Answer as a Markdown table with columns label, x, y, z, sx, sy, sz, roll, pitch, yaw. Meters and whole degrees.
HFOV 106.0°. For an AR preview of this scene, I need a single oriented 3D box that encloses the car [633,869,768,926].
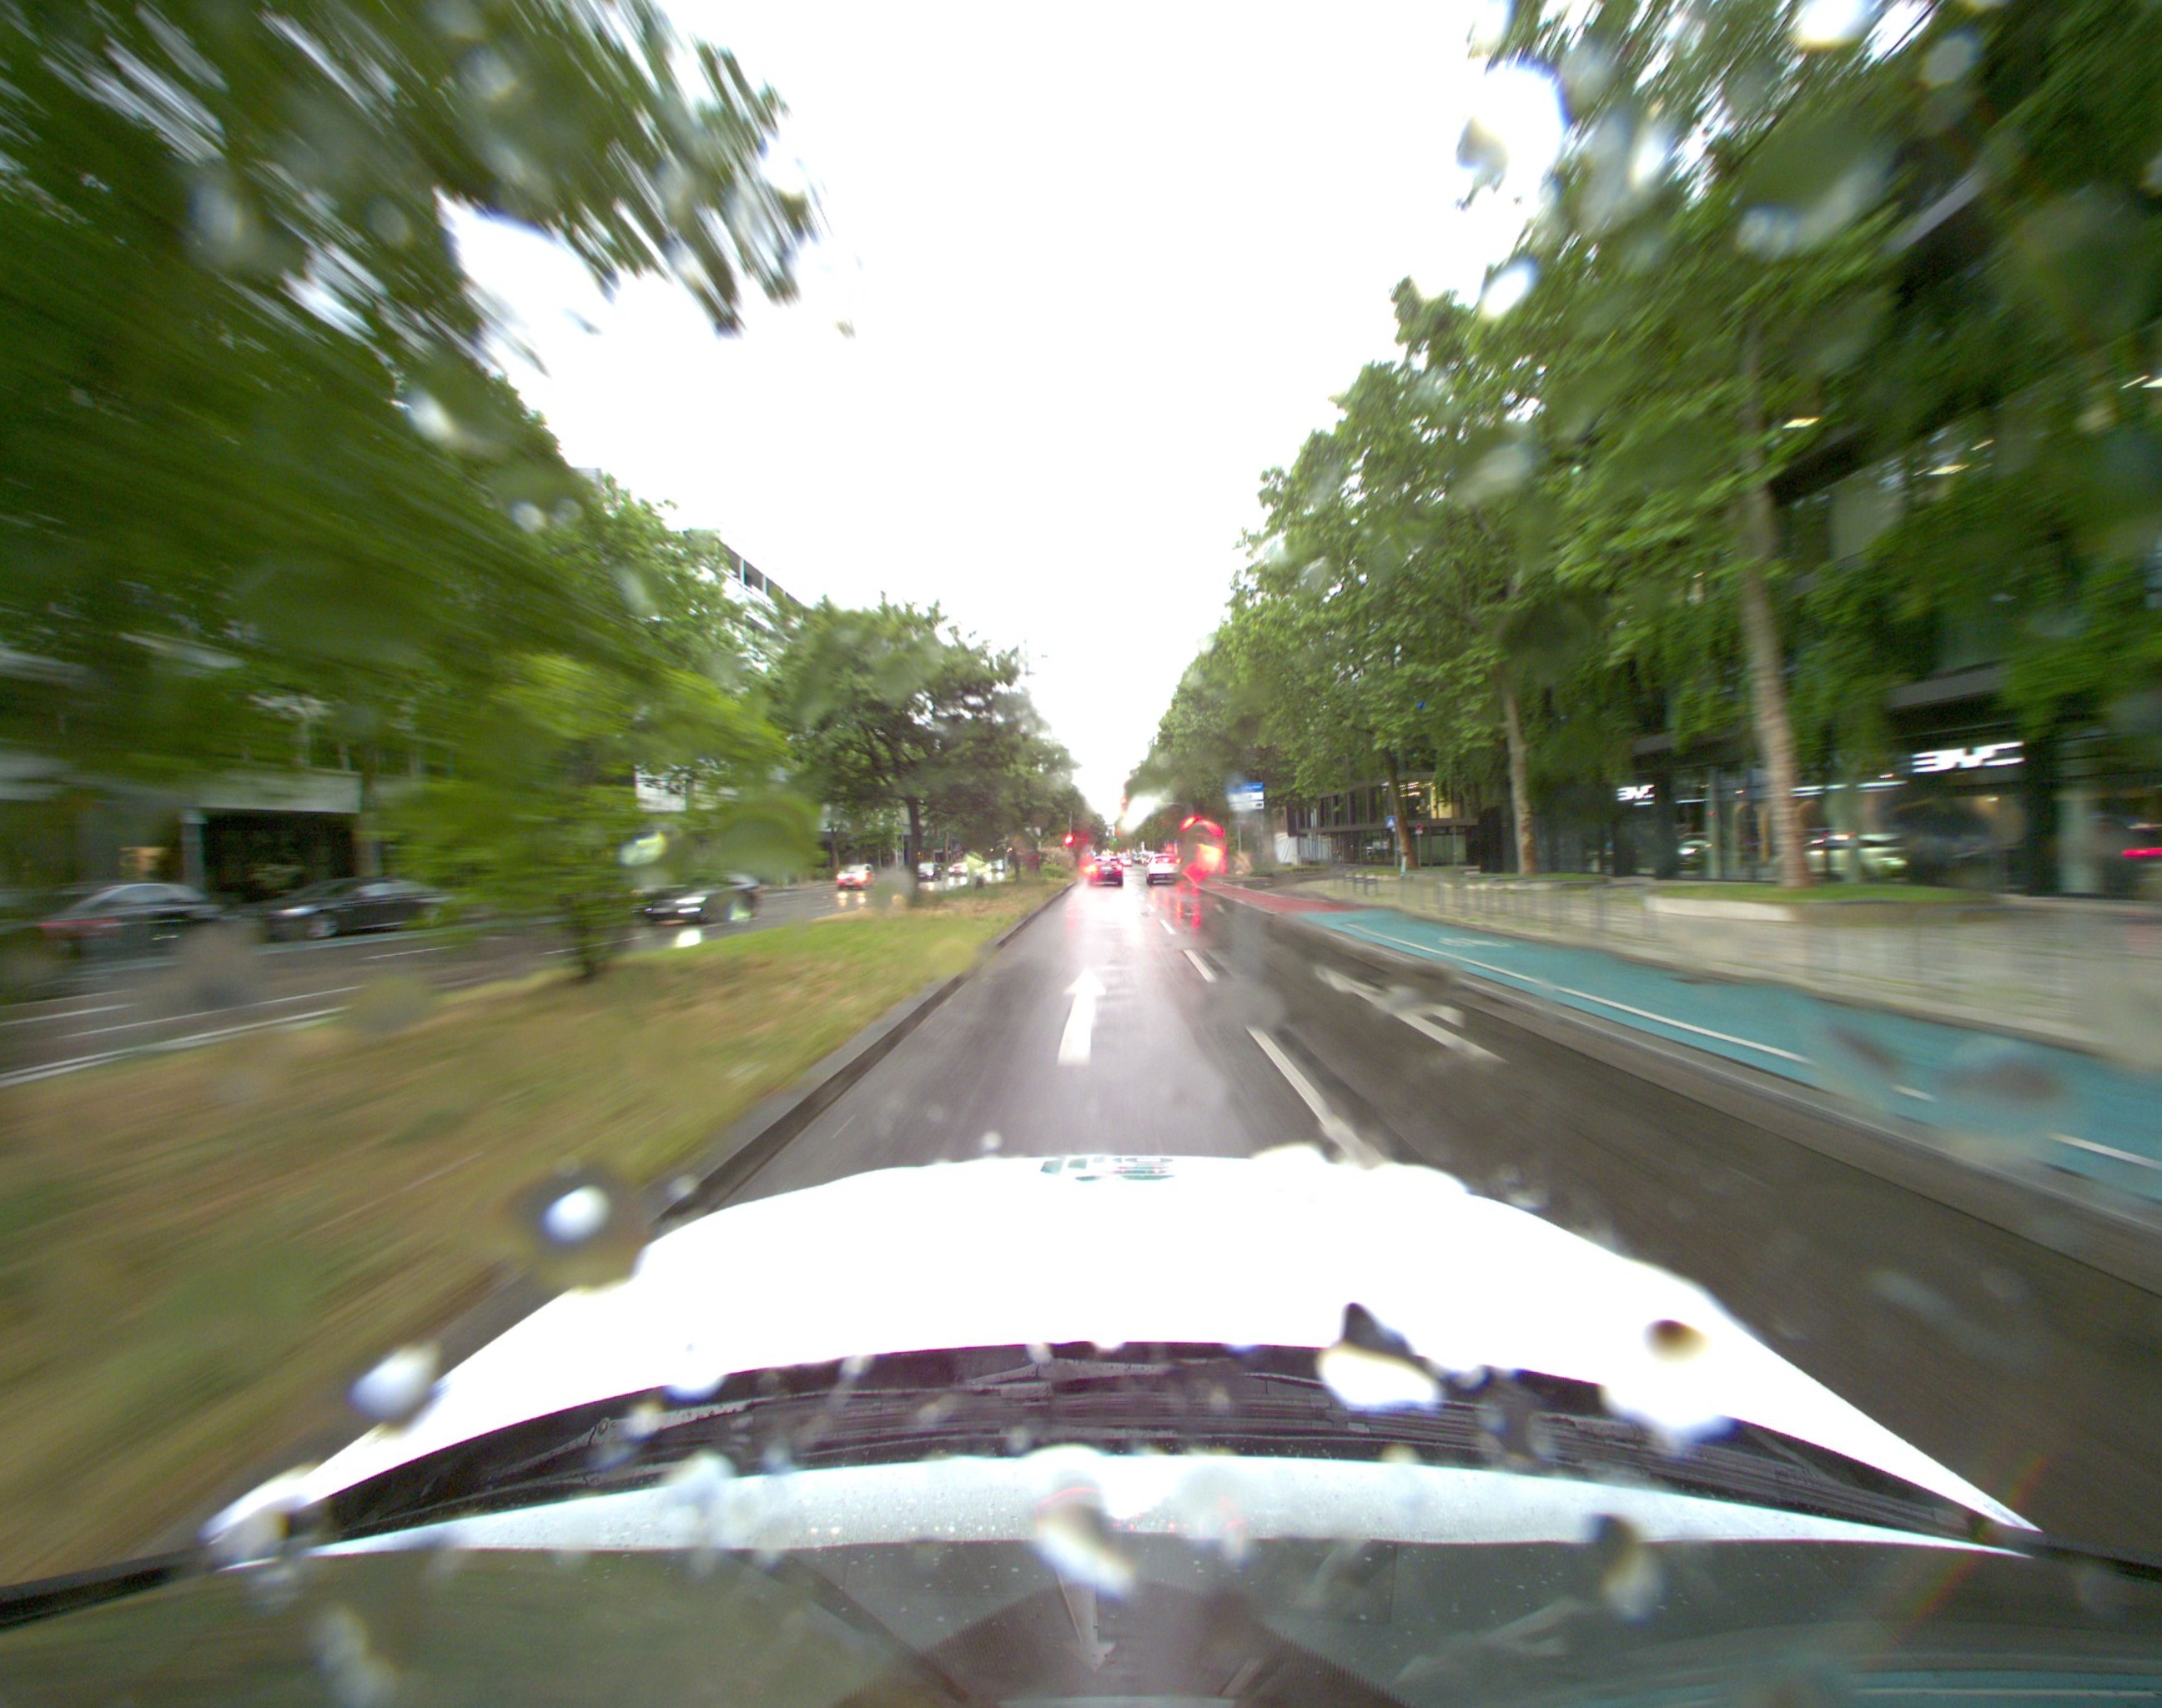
| label | x | y | z | sx | sy | sz | roll | pitch | yaw |
| --- | --- | --- | --- | --- | --- | --- | --- | --- | --- |
| car | -10.873 | 1.190 | 23.609 | 1.741 | 1.476 | 4.100 | 0 | -1 | 4 |

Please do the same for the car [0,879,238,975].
| label | x | y | z | sx | sy | sz | roll | pitch | yaw |
| --- | --- | --- | --- | --- | --- | --- | --- | --- | --- |
| car | -18.720 | 1.306 | 15.480 | 1.687 | 1.468 | 3.461 | -1 | 0 | 1 |

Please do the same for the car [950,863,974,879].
| label | x | y | z | sx | sy | sz | roll | pitch | yaw |
| --- | --- | --- | --- | --- | --- | --- | --- | --- | --- |
| car | -11.634 | 1.606 | 79.613 | 1.608 | 1.394 | 4.185 | -1 | 0 | 1 |

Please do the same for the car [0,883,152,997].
| label | x | y | z | sx | sy | sz | roll | pitch | yaw |
| --- | --- | --- | --- | --- | --- | --- | --- | --- | --- |
| car | -14.456 | 1.136 | 10.349 | 1.712 | 1.367 | 3.050 | -1 | 0 | 3 |

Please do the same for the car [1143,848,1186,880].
| label | x | y | z | sx | sy | sz | roll | pitch | yaw |
| --- | --- | --- | --- | --- | --- | --- | --- | --- | --- |
| car | 4.623 | 0.524 | 45.763 | 1.986 | 1.655 | 4.890 | -1 | 0 | 1 |

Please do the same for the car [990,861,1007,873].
| label | x | y | z | sx | sy | sz | roll | pitch | yaw |
| --- | --- | --- | --- | --- | --- | --- | --- | --- | --- |
| car | -10.256 | 1.590 | 101.598 | 1.608 | 1.394 | 3.598 | -1 | -2 | 1 |

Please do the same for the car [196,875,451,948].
| label | x | y | z | sx | sy | sz | roll | pitch | yaw |
| --- | --- | --- | --- | --- | --- | --- | --- | --- | --- |
| car | -18.600 | 1.328 | 20.405 | 1.687 | 1.409 | 4.906 | -1 | 0 | 1 |

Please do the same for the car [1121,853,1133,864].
| label | x | y | z | sx | sy | sz | roll | pitch | yaw |
| --- | --- | --- | --- | --- | --- | --- | --- | --- | --- |
| car | 6.934 | 0.683 | 123.467 | 1.614 | 1.666 | 4.001 | -2 | 0 | 1 |

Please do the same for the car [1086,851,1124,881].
| label | x | y | z | sx | sy | sz | roll | pitch | yaw |
| --- | --- | --- | --- | --- | --- | --- | --- | --- | --- |
| car | 1.293 | 0.631 | 44.425 | 1.911 | 1.491 | 4.001 | -1 | 0 | 1 |

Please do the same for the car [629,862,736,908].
| label | x | y | z | sx | sy | sz | roll | pitch | yaw |
| --- | --- | --- | --- | --- | --- | --- | --- | --- | --- |
| car | -13.992 | 1.062 | 28.826 | 1.836 | 1.429 | 3.646 | -1 | 0 | 3 |

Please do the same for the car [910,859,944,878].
| label | x | y | z | sx | sy | sz | roll | pitch | yaw |
| --- | --- | --- | --- | --- | --- | --- | --- | --- | --- |
| car | -12.185 | 1.134 | 64.554 | 1.837 | 1.389 | 4.001 | -1 | 0 | 1 |

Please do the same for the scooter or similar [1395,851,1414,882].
| label | x | y | z | sx | sy | sz | roll | pitch | yaw |
| --- | --- | --- | --- | --- | --- | --- | --- | --- | --- |
| scooter or similar | 13.027 | 0.494 | 32.772 | 0.377 | 1.228 | 1.086 | -2 | 0 | 38 |

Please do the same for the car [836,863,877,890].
| label | x | y | z | sx | sy | sz | roll | pitch | yaw |
| --- | --- | --- | --- | --- | --- | --- | --- | --- | --- |
| car | -13.106 | 1.270 | 47.599 | 1.488 | 1.463 | 2.733 | -2 | 0 | 3 |
